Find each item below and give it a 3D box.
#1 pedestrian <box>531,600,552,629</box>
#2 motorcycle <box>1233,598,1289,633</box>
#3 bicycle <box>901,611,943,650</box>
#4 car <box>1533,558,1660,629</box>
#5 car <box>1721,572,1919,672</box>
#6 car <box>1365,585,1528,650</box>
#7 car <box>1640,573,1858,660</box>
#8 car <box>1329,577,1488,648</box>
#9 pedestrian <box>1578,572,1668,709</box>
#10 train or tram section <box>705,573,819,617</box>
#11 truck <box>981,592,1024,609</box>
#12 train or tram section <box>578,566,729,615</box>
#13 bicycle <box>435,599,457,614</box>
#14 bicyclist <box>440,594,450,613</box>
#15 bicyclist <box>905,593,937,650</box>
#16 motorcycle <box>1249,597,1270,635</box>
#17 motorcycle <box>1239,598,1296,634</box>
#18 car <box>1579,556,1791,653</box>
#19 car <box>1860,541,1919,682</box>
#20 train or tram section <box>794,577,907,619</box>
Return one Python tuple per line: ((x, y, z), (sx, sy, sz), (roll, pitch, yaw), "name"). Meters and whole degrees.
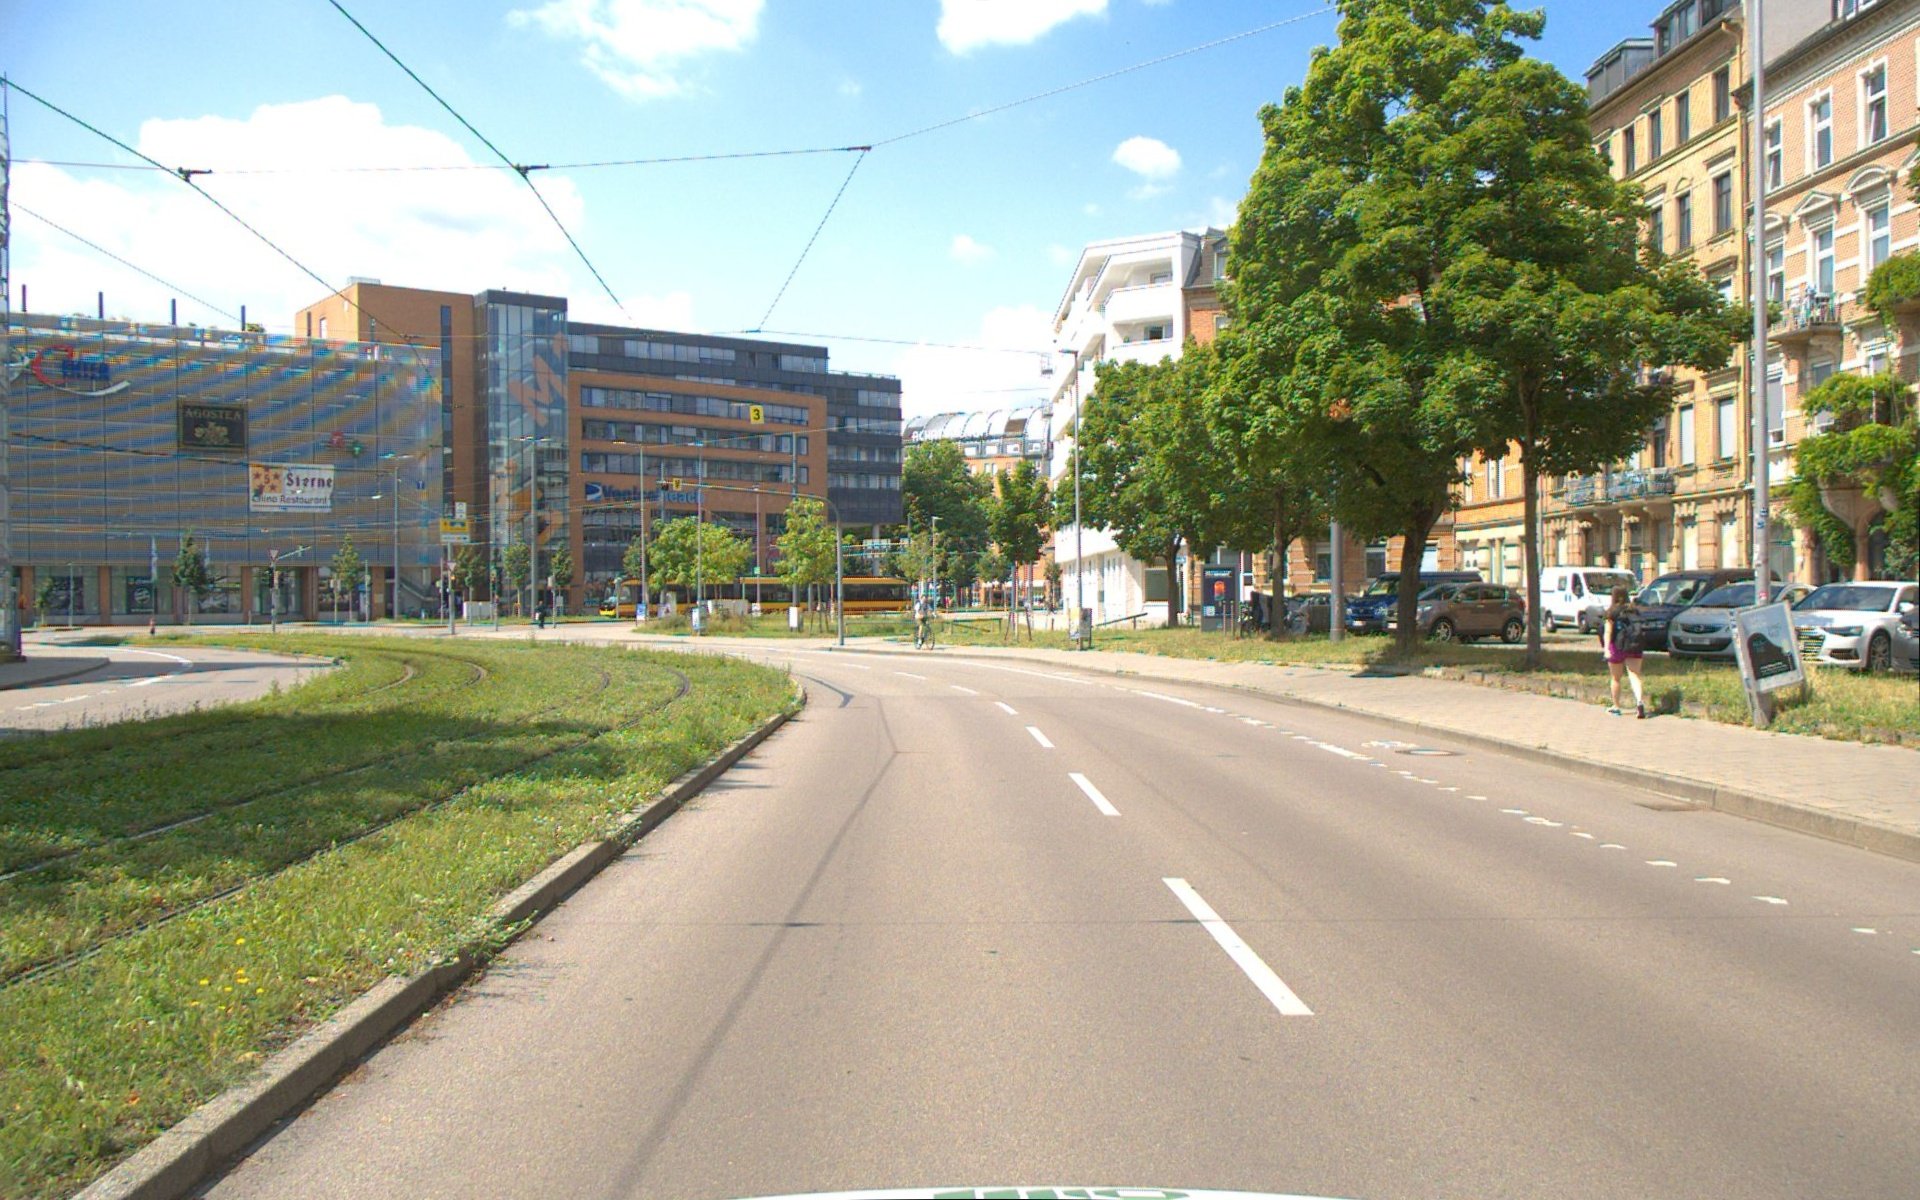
((-25.245, 0.877, 99.835), (0.897, 1.732, 0.808), (-2, 0, 23), "pedestrian")
((10.234, 0.526, 56.234), (1.747, 1.187, 0.639), (0, -1, -3), "motorcycle")
((-1.285, 1.015, 55.566), (0.685, 1.264, 1.825), (-3, 1, -24), "bicycle")
((21.051, -0.177, 54.969), (2.068, 2.217, 5.392), (1, -1, -1), "car")
((13.872, 0.356, 25.569), (4.641, 1.404, 1.829), (1, -1, -36), "car")
((13.156, 0.495, 44.696), (4.114, 1.685, 1.899), (1, -1, -29), "car")
((13.879, 0.312, 29.034), (4.041, 1.430, 1.828), (1, -1, -37), "car")
((12.954, 0.397, 47.682), (4.571, 1.961, 1.895), (1, -1, -33), "car")
((8.043, 0.488, 20.095), (0.686, 1.620, 0.905), (-1, -1, -2), "pedestrian")
((-17.219, -0.377, 144.824), (3.006, 3.666, 10.940), (0, -1, 38), "train or tram section")
((5.362, 0.120, 210.282), (5.415, 2.122, 1.991), (0, -1, 38), "truck")
((-24.846, -0.707, 135.283), (3.165, 3.662, 13.437), (0, -1, 38), "train or tram section")
((-44.711, 0.550, 143.809), (1.748, 1.245, 0.576), (1, -1, -38), "bicycle")
((-44.779, 0.334, 143.761), (0.657, 1.652, 0.543), (1, -1, -38), "bicyclist")
((-1.299, 0.714, 55.569), (0.685, 1.856, 0.949), (-3, 0, -24), "bicyclist")
((9.559, 0.513, 52.739), (0.624, 1.187, 1.908), (-1, -1, 11), "motorcycle")
((10.284, 0.525, 55.354), (1.747, 1.187, 0.639), (0, -1, -3), "motorcycle")
((14.103, 0.129, 32.129), (4.096, 1.771, 1.832), (1, -1, -32), "car")
((13.885, 0.183, 21.993), (4.321, 1.771, 1.827), (1, -1, -38), "car")
((-10.056, -0.143, 154.346), (3.005, 3.684, 12.581), (0, -1, 37), "train or tram section")
